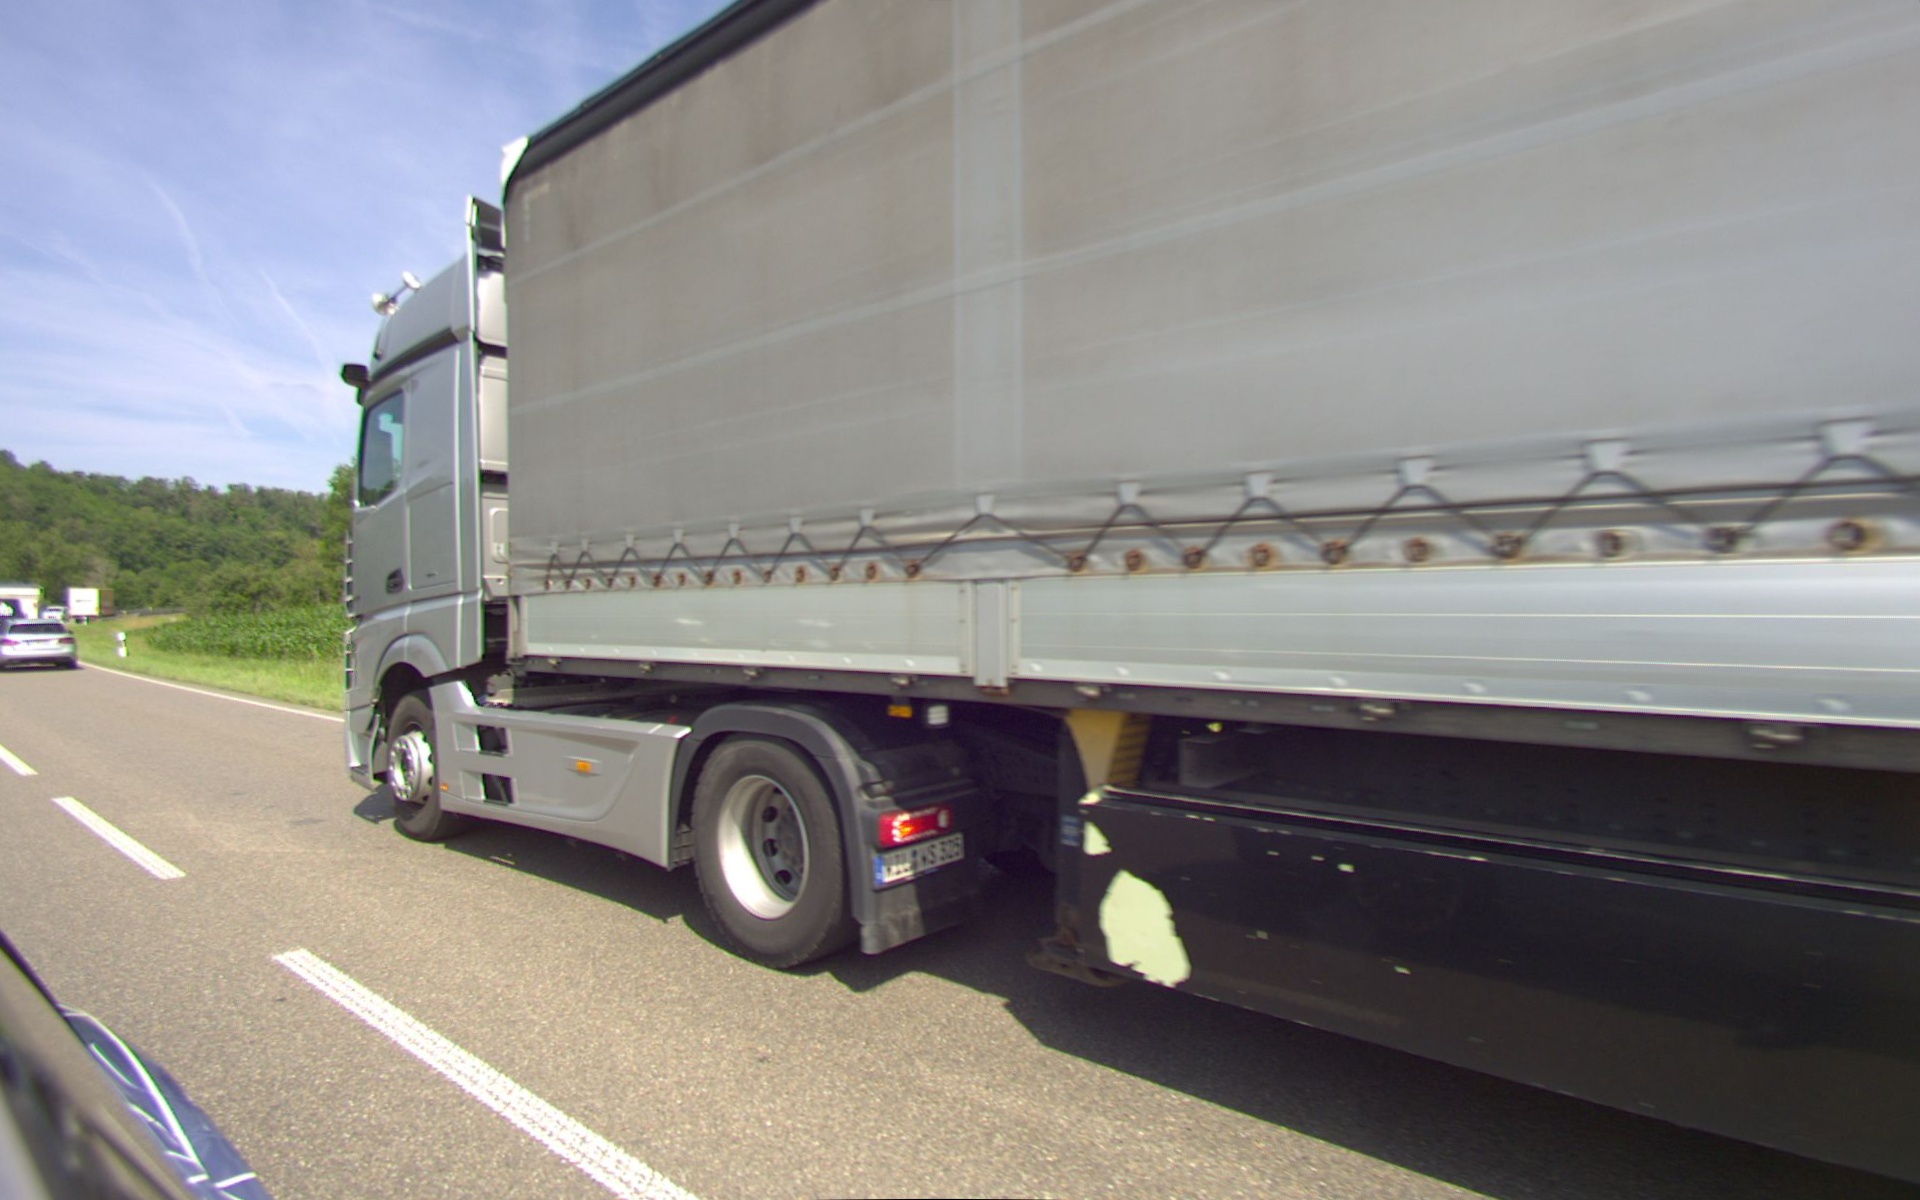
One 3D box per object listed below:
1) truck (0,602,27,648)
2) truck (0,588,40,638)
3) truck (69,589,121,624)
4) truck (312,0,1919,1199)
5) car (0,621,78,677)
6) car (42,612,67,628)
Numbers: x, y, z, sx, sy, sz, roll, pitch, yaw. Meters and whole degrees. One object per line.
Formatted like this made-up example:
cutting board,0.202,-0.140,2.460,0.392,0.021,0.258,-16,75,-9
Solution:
truck,-50.842,1.296,53.645,1.986,2.337,5.197,-1,0,-43
truck,-71.922,0.993,76.910,2.709,3.606,9.735,-1,0,-44
truck,-105.504,0.831,123.664,2.733,4.029,17.073,-1,0,-33
truck,2.417,-0.603,3.022,16.523,4.023,2.797,-1,-1,41
car,-26.628,1.341,28.858,4.175,1.451,1.710,-1,-1,42
car,-113.518,2.486,126.895,1.967,1.782,4.010,-1,1,-36
